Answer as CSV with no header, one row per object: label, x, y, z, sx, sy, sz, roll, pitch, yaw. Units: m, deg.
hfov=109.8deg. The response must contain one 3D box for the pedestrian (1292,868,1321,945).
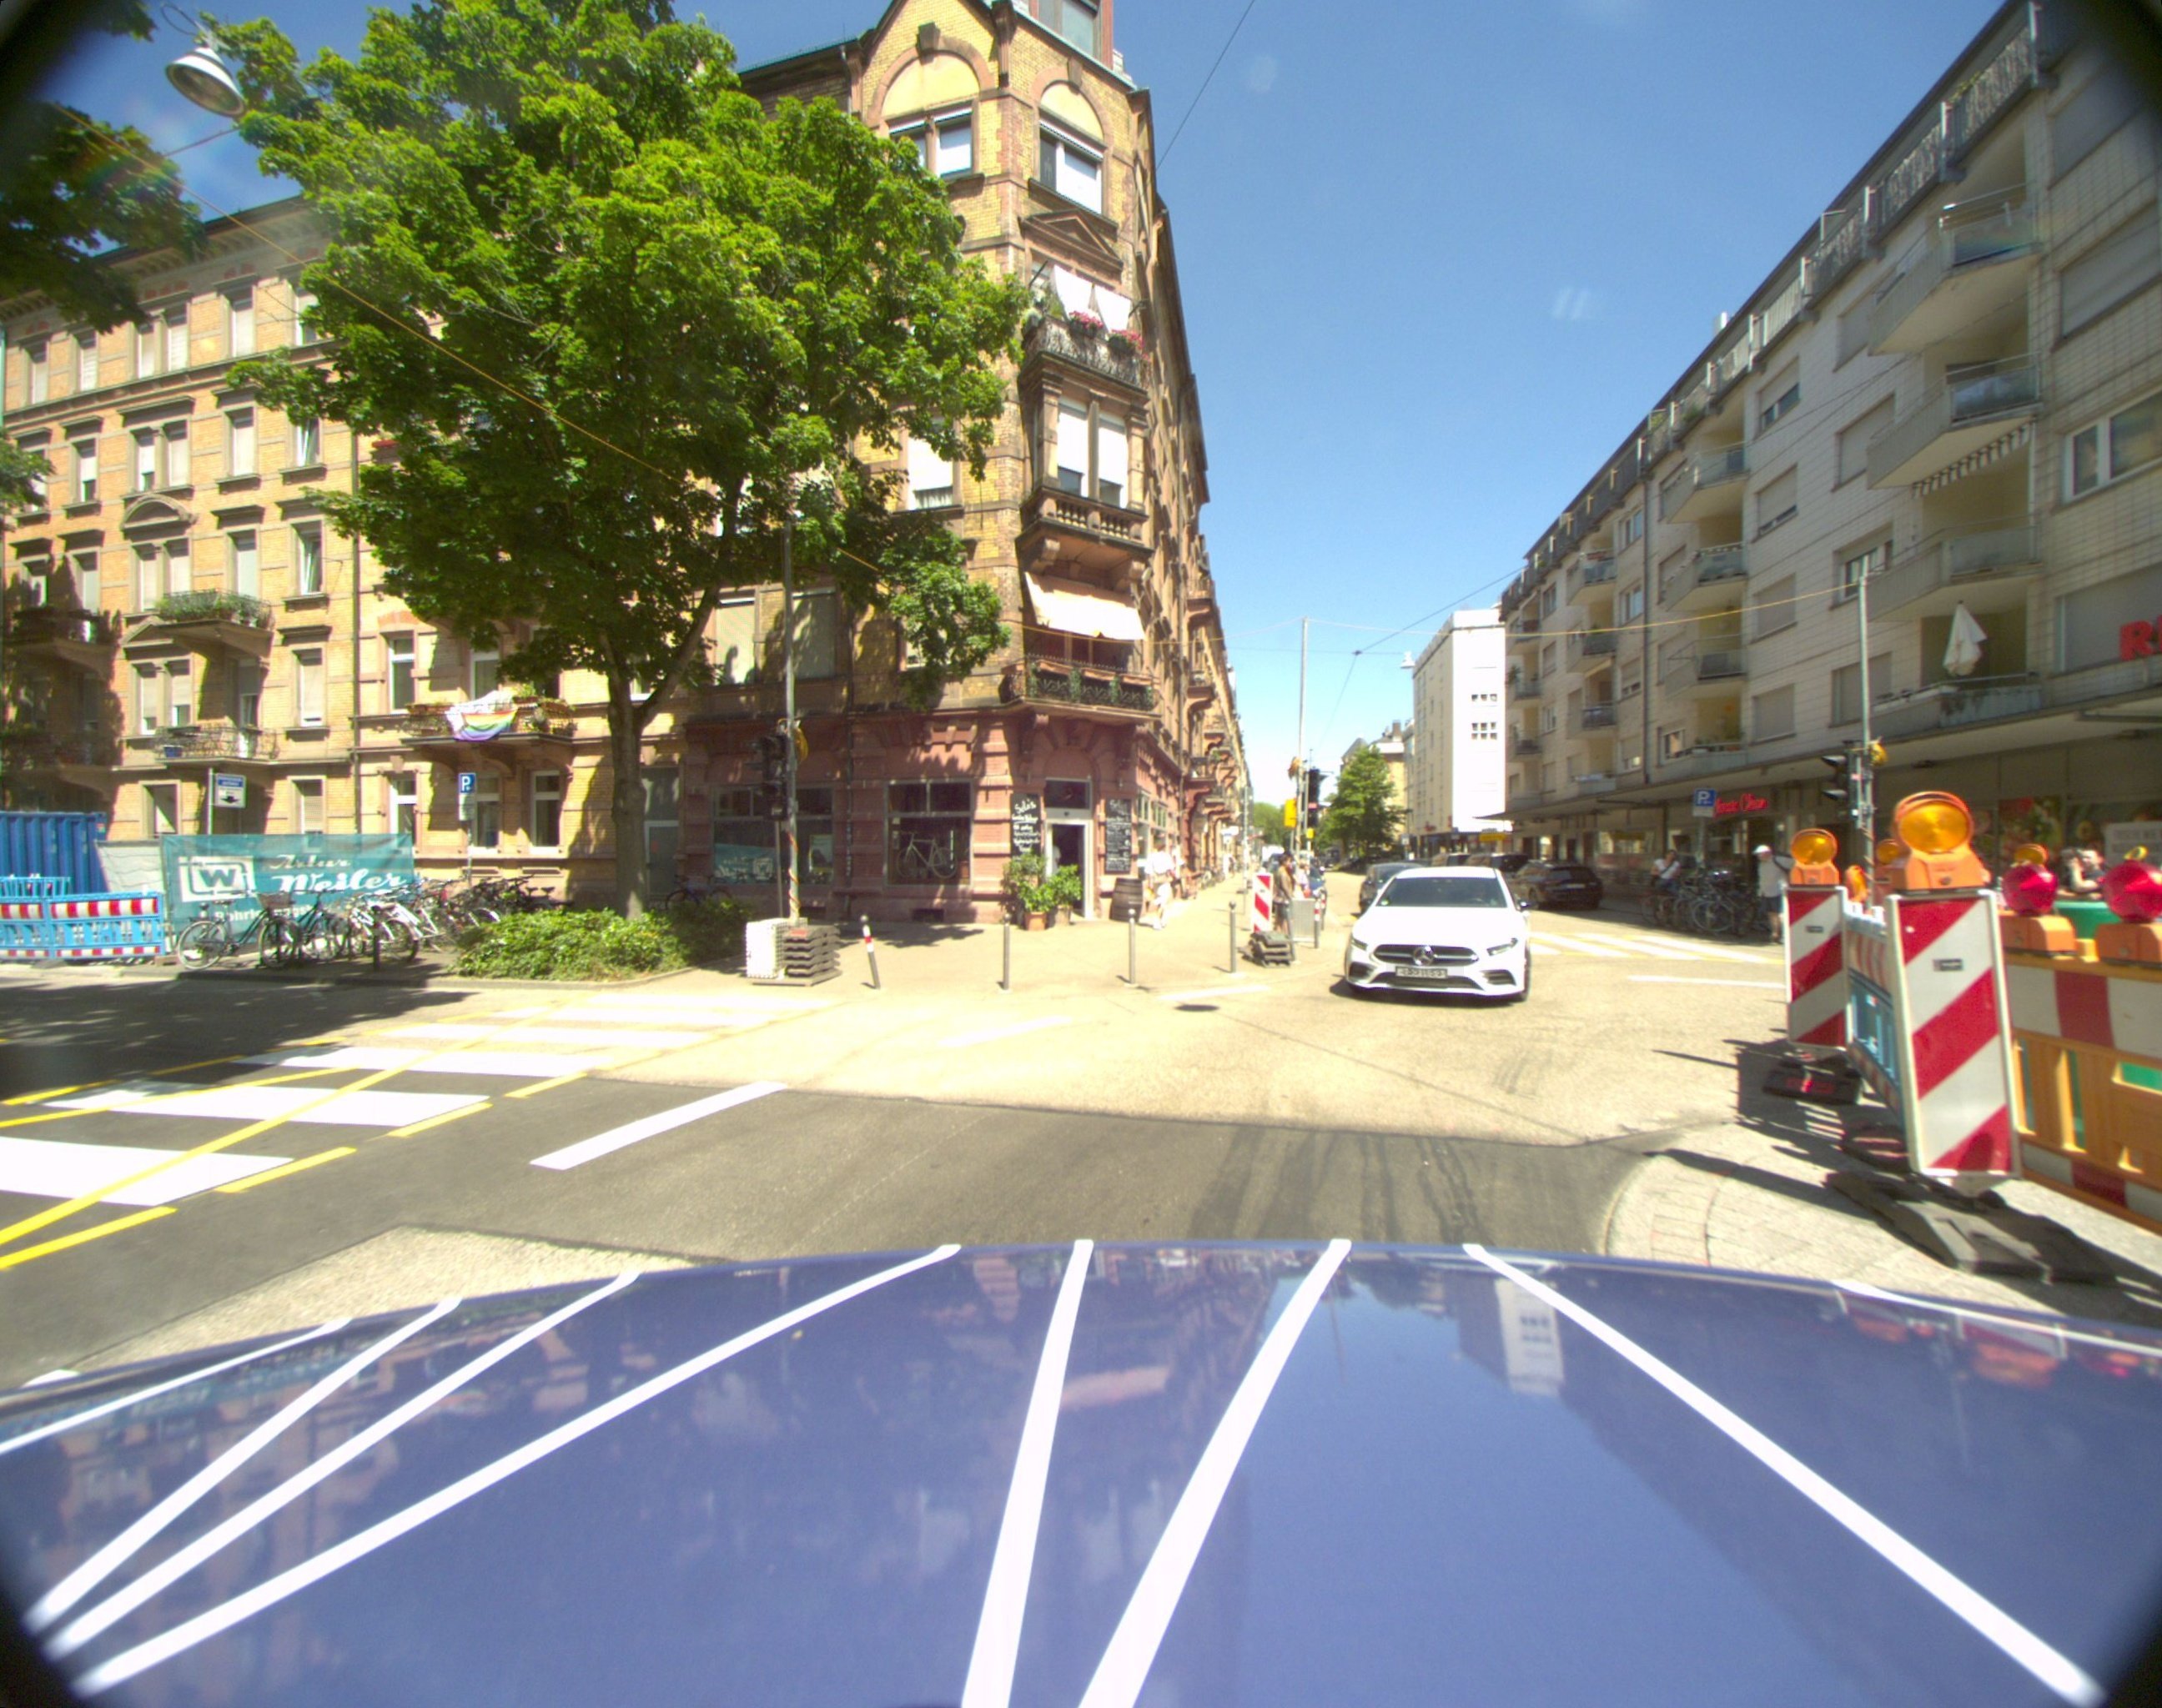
pedestrian,4.672,1.076,15.719,0.493,1.534,0.437,3,1,19

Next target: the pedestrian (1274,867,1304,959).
pedestrian,3.627,1.006,13.235,0.460,1.551,0.479,0,1,19

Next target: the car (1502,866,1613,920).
car,15.121,1.178,24.396,1.672,1.516,4.469,-1,0,14

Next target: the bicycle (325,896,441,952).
bicycle,-12.237,1.210,13.314,2.070,0.867,0.510,0,0,17

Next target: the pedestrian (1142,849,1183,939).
pedestrian,1.625,0.769,15.096,0.477,1.723,0.873,1,2,32

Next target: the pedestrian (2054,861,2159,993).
pedestrian,13.087,0.906,9.712,0.510,1.623,0.600,0,1,11

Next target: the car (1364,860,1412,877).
car,28.534,1.315,70.691,3.881,1.520,1.654,0,0,13

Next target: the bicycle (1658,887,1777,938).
bicycle,14.247,1.314,17.055,1.936,1.085,0.605,-2,0,15

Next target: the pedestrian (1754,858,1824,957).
pedestrian,12.583,0.924,13.516,0.657,1.716,0.633,0,1,11

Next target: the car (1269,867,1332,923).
car,6.440,1.141,22.446,1.629,1.424,3.664,1,0,15

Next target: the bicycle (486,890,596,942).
bicycle,-10.051,1.139,14.139,2.070,0.867,0.510,0,0,17

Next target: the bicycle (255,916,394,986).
bicycle,-10.947,1.376,10.992,2.070,0.867,0.510,0,0,17

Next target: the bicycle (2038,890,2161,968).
bicycle,15.566,1.107,11.476,0.321,1.080,1.432,0,-1,-5

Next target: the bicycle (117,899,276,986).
bicycle,-12.254,1.210,10.542,1.782,1.101,0.509,0,2,7

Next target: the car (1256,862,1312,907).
car,7.393,1.051,27.999,1.728,1.424,4.490,1,0,12

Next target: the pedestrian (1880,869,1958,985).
pedestrian,12.125,1.037,11.010,0.542,1.623,0.512,0,1,11

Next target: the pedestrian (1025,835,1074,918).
pedestrian,-0.704,0.492,17.174,0.943,1.809,0.455,0,4,-33

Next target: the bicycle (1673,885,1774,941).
bicycle,13.904,1.273,16.471,1.586,1.132,0.527,-2,0,11

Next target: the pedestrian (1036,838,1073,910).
pedestrian,-0.646,0.482,18.568,0.725,1.709,0.495,0,3,-32

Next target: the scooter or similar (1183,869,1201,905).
scooter or similar,3.844,1.131,26.283,0.293,1.170,1.274,0,0,23

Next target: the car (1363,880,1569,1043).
car,4.819,1.081,9.401,1.810,1.417,4.250,-1,-1,30

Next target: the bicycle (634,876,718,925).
bicycle,-8.902,1.004,16.705,1.693,1.002,0.523,0,0,14

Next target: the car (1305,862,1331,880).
car,19.828,1.417,63.729,1.746,1.382,4.004,0,0,13

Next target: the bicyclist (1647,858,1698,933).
bicyclist,13.841,0.947,17.803,0.624,1.696,0.980,-2,0,18

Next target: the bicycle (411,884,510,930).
bicycle,-12.732,1.072,15.587,2.070,0.867,0.510,0,0,17

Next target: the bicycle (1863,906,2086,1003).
bicycle,11.524,1.262,9.890,1.805,1.112,0.469,-2,0,35

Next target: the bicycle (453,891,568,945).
bicycle,-10.211,1.126,13.596,2.070,0.867,0.510,0,0,17

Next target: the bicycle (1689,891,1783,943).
bicycle,13.777,1.326,15.998,1.496,1.024,0.398,-2,0,9

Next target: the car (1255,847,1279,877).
car,17.523,0.703,71.686,2.065,2.686,5.044,-1,0,13

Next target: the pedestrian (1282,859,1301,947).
pedestrian,4.068,0.930,14.673,0.332,1.666,0.402,0,1,19

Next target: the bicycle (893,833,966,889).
bicycle,-3.188,0.142,15.952,1.424,1.145,0.510,0,1,16

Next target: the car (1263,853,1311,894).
car,9.514,0.838,35.355,1.827,1.756,4.342,1,0,12

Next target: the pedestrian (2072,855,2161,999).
pedestrian,11.957,0.820,8.773,0.390,1.608,0.476,0,1,11

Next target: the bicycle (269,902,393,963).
bicycle,-12.204,1.260,12.354,2.070,0.867,0.510,0,0,17

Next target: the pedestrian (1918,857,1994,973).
pedestrian,13.690,0.937,11.902,0.510,1.760,0.600,0,1,11

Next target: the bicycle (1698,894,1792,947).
bicycle,13.475,1.351,15.441,1.450,1.030,0.336,-2,0,9

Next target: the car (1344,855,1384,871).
car,30.863,0.969,83.033,3.881,1.737,1.654,0,0,13

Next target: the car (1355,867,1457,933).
car,8.372,1.134,19.927,1.778,1.460,4.004,-1,0,13

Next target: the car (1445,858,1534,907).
car,16.394,1.093,30.746,1.791,1.800,4.703,-1,0,11

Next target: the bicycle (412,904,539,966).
bicycle,-9.742,1.287,12.221,2.070,0.867,0.510,0,0,17

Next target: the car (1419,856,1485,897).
car,17.889,1.045,36.839,1.791,1.818,4.906,-1,0,13

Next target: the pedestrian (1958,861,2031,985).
pedestrian,11.857,0.879,9.876,0.496,1.556,0.460,-2,-1,40

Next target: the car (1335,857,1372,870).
car,31.765,1.081,88.591,3.881,1.487,1.654,0,0,13

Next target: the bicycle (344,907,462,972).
bicycle,-10.403,1.290,11.660,1.741,0.867,0.510,0,0,17

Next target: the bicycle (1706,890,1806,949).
bicycle,13.348,1.289,15.042,1.522,1.110,0.336,-2,0,9

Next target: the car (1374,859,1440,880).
car,22.537,1.052,52.583,1.818,1.417,3.882,0,0,-30
